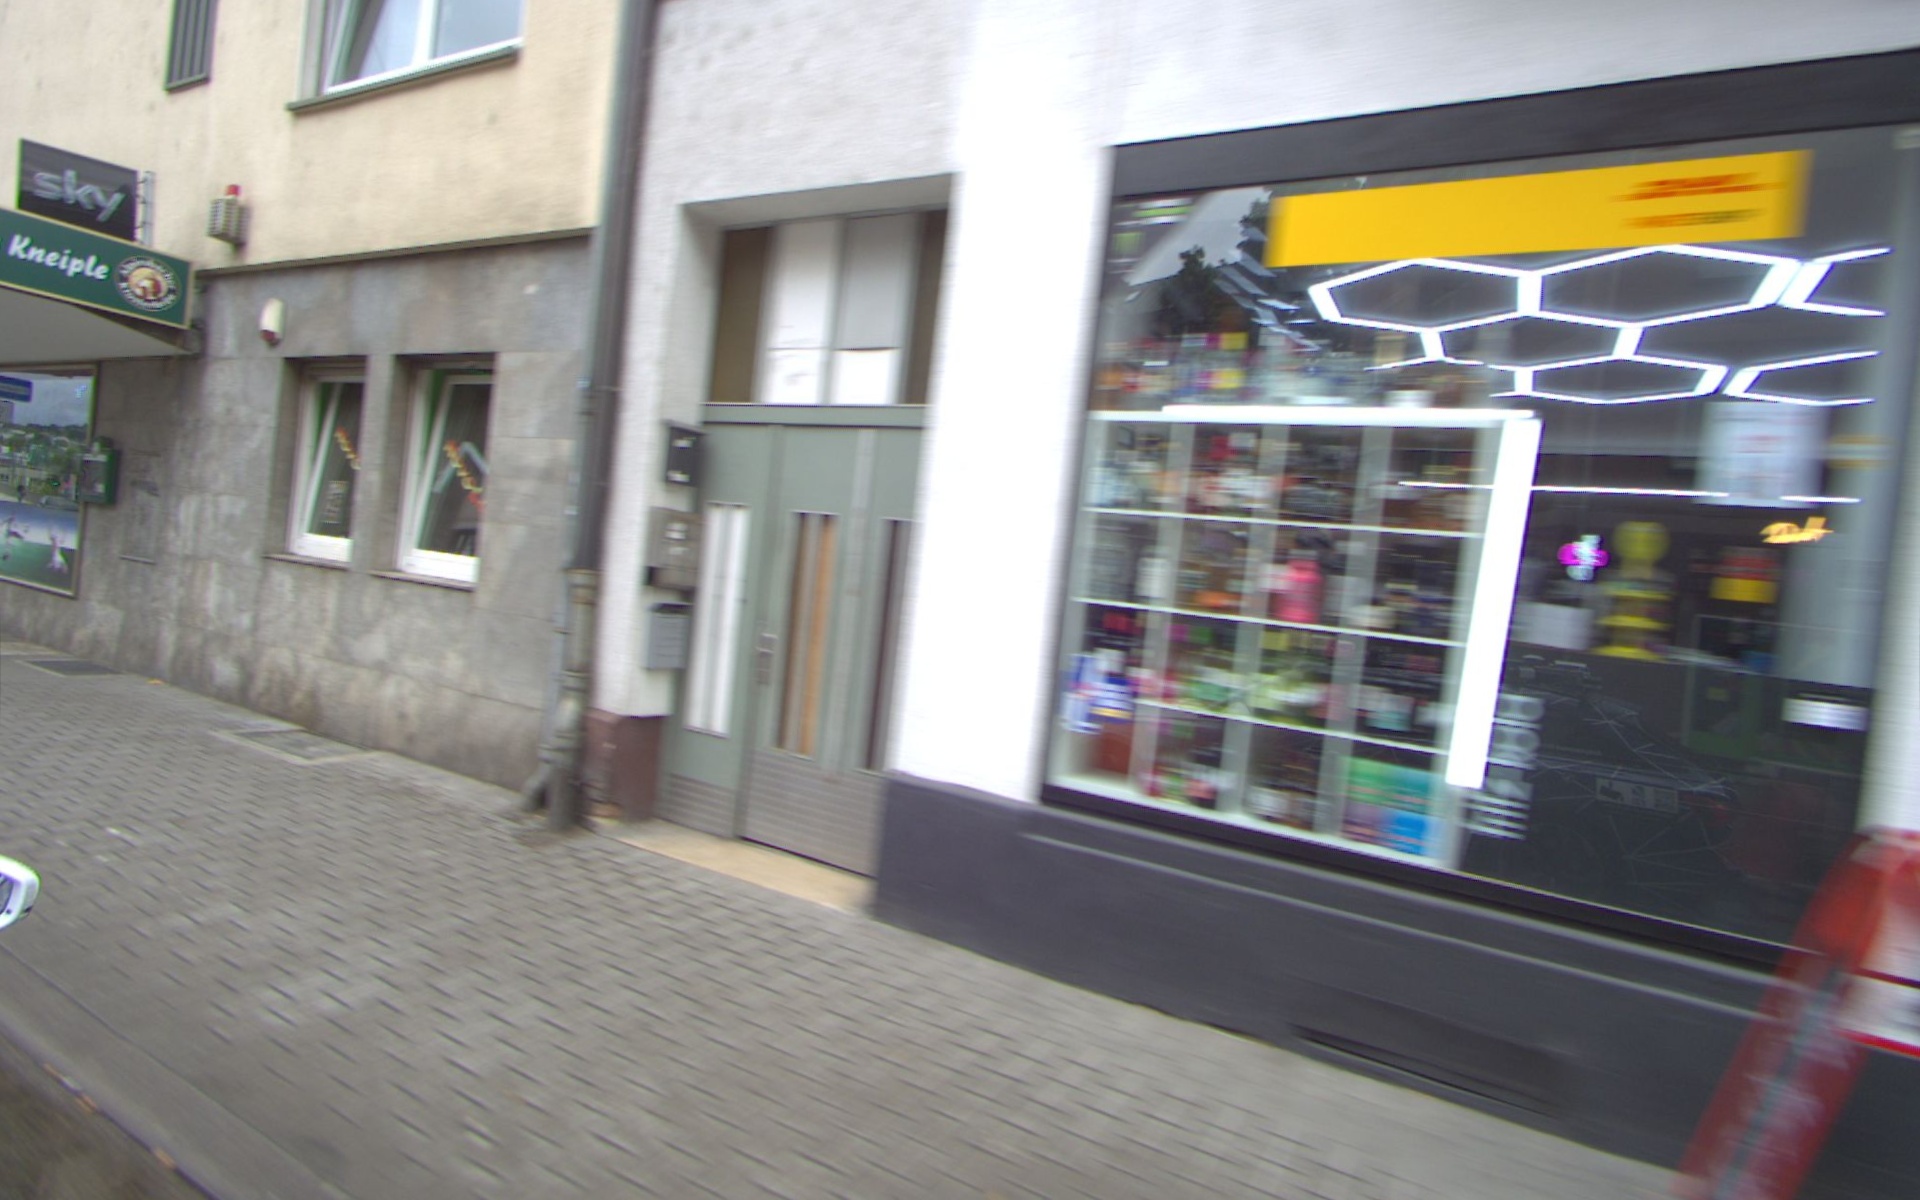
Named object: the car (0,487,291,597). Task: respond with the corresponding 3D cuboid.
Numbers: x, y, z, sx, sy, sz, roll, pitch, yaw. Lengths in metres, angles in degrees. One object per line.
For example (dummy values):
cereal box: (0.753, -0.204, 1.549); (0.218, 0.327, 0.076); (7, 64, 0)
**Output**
car: (-14.619, -0.975, 17.653); (1.754, 1.460, 4.490); (6, 0, 24)
